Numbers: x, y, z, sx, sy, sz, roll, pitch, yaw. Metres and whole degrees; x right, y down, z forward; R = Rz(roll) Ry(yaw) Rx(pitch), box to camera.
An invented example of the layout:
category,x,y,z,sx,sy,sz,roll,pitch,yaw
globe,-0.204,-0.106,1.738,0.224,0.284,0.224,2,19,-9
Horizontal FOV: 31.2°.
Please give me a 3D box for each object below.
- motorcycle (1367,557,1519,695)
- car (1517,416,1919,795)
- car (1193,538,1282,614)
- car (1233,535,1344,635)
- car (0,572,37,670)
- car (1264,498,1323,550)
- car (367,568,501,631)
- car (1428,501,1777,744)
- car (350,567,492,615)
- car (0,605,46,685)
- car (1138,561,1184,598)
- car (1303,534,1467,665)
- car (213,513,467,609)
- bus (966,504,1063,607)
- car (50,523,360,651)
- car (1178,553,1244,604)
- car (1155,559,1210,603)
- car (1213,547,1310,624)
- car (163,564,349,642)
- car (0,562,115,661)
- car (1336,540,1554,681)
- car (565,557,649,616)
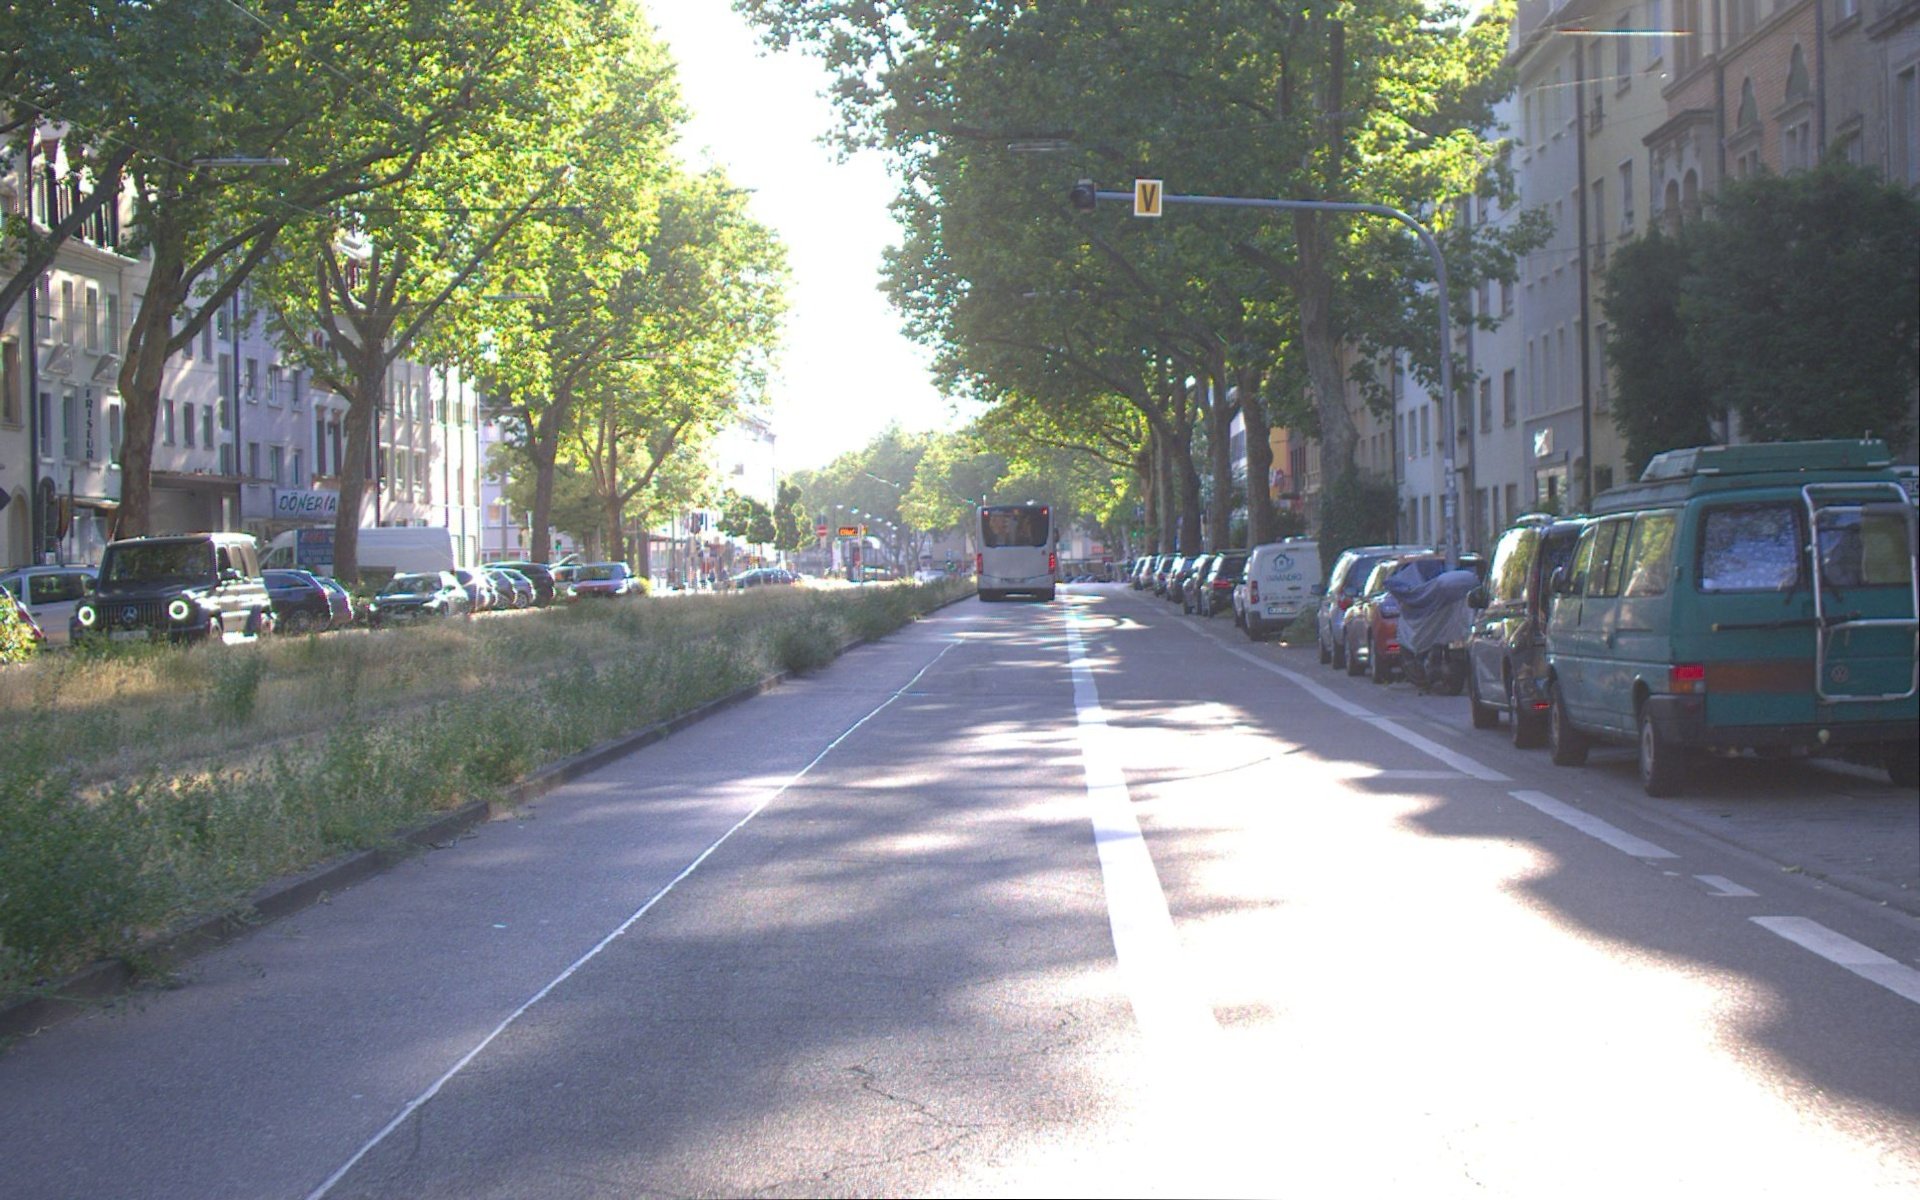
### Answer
category,x,y,z,sx,sy,sz,roll,pitch,yaw
motorcycle,5.170,0.259,36.970,0.823,1.393,2.380,-3,1,-11
car,5.201,0.032,23.255,1.993,2.249,5.235,-1,0,0
car,6.650,-0.558,82.807,1.744,1.764,4.988,-1,0,0
car,6.047,-0.269,63.642,1.744,1.764,4.394,-1,0,2
car,-18.403,0.397,60.087,3.988,1.717,1.784,-1,0,-37
car,12.660,-2.855,130.758,1.883,1.853,4.325,-1,0,1
car,-12.826,-0.022,84.145,1.746,1.455,4.923,-1,0,10
car,5.230,0.174,28.635,1.993,1.823,4.757,-1,0,0
car,-17.093,-0.276,109.120,4.297,1.453,1.859,-1,0,-4
car,-18.881,0.849,62.631,3.988,1.443,1.585,-1,0,-37
car,8.511,-0.871,145.886,1.781,1.510,4.000,-1,1,1
car,5.727,-0.007,46.706,1.744,1.684,3.852,-1,0,0
car,-17.961,-1.136,99.612,6.935,2.669,2.186,-1,0,-19
bus,1.748,-1.414,113.397,2.833,3.224,8.183,-1,0,-1
car,-10.568,-0.180,48.511,1.871,1.688,4.771,-1,0,22
car,7.694,-0.674,105.738,1.781,1.510,4.000,-1,1,1
car,7.966,-0.682,123.507,1.781,1.510,4.000,-1,1,1
car,6.131,-0.319,70.289,1.645,1.481,4.000,-1,1,1
car,-17.163,0.063,83.839,3.987,1.693,1.856,-3,1,-30
car,-18.558,0.234,66.170,3.988,1.875,2.000,-1,0,-36
car,5.645,0.118,40.477,1.993,1.555,3.980,-1,0,0
car,-9.720,-0.381,94.885,1.790,1.568,4.000,-1,1,2
